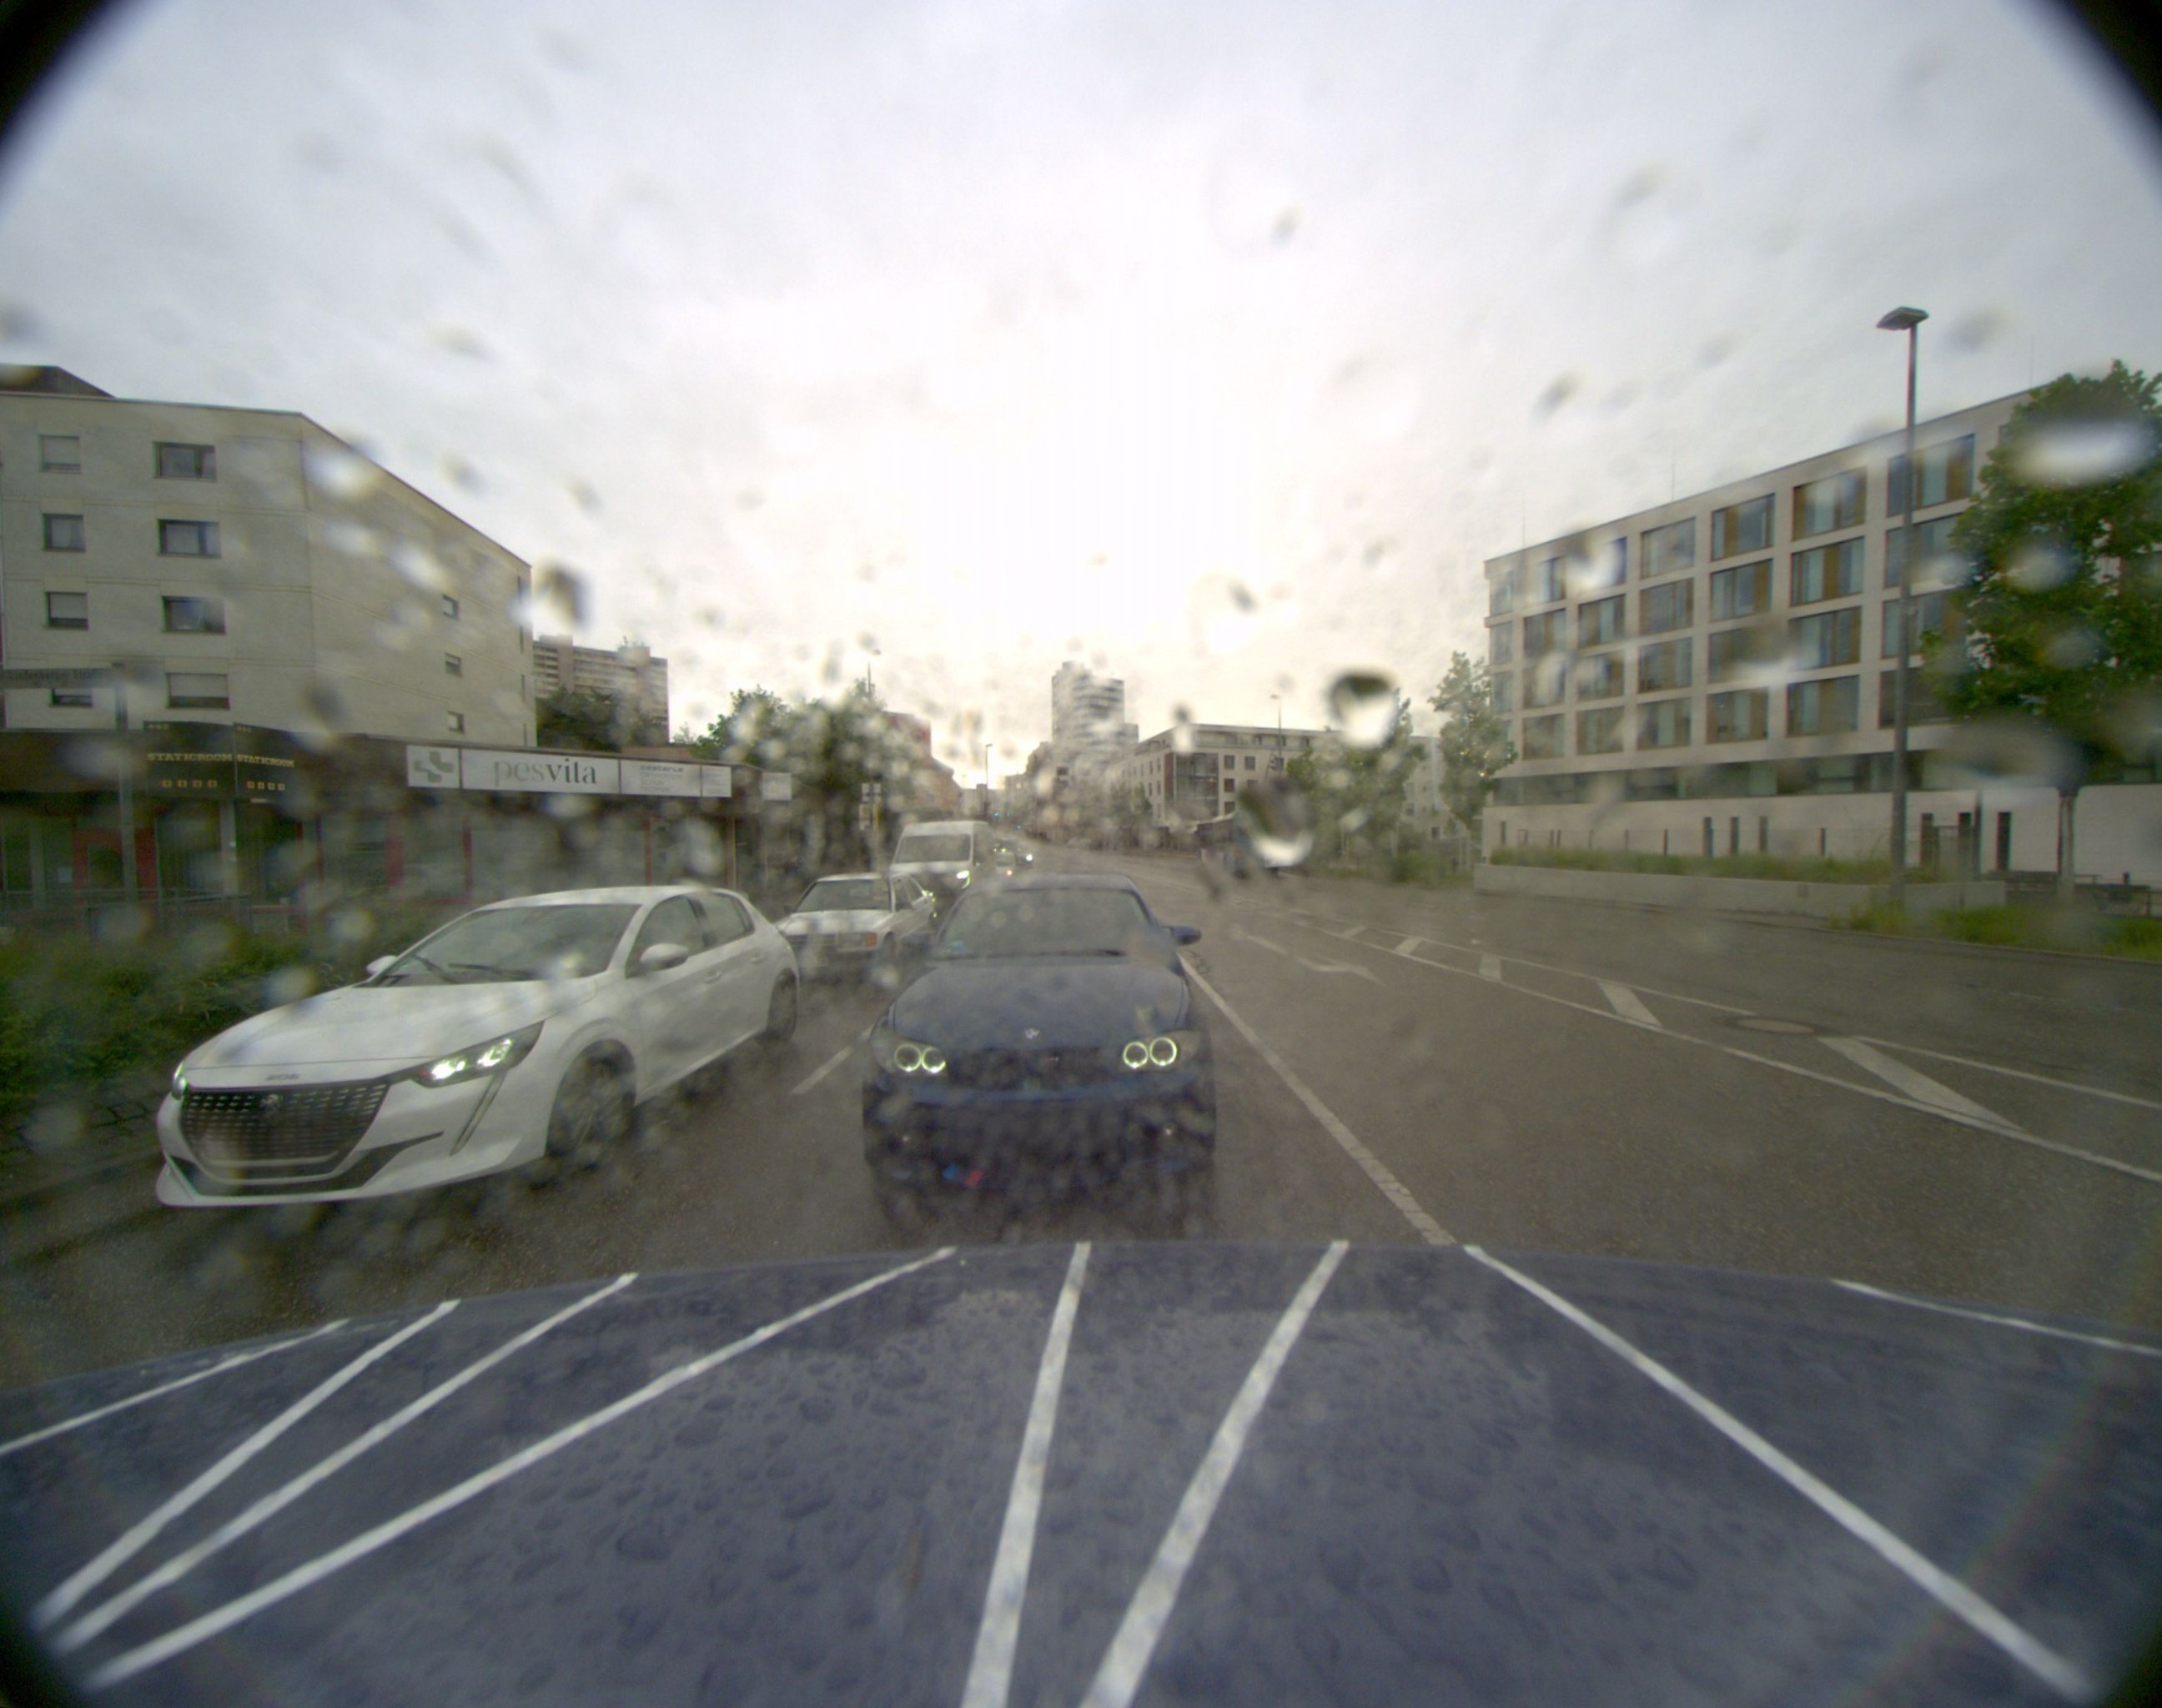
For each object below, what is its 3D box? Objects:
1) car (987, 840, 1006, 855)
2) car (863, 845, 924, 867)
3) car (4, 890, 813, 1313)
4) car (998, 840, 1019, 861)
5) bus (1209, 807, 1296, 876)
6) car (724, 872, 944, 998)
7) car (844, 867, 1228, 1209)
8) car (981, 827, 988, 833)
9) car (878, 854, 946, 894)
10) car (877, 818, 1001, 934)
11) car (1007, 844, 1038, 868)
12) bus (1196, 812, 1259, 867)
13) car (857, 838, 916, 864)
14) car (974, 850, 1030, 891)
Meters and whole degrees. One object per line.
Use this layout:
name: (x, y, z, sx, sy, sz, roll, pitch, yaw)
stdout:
car: (-10.590, -0.784, 95.613, 1.879, 1.745, 4.000, 1, 0, 1)
car: (-13.030, 0.119, 52.946, 4.000, 1.419, 1.882, -1, 1, -10)
car: (-3.388, 1.088, 5.074, 1.666, 1.407, 4.114, -2, 1, 1)
car: (-7.347, -0.384, 77.147, 1.999, 2.002, 3.997, -1, 1, -4)
bus: (8.478, -0.621, 38.771, 2.783, 3.096, 9.369, 0, 1, 3)
car: (-3.366, 1.031, 11.282, 1.788, 1.338, 4.162, -2, 1, 1)
car: (-0.243, 0.865, 5.434, 1.693, 1.380, 3.999, -2, 1, -1)
car: (-26.740, -6.743, 211.478, 1.666, 1.625, 3.801, -2, 1, -11)
car: (-6.931, 0.779, 31.573, 1.788, 1.481, 4.000, -2, 1, 1)
car: (-3.471, 0.423, 19.897, 2.197, 2.503, 6.120, -1, 1, -2)
car: (-4.218, 0.097, 55.451, 1.999, 1.559, 3.998, -2, 1, -1)
bus: (9.022, -0.895, 47.858, 2.798, 3.096, 8.885, 0, 1, 4)
car: (-14.105, -0.245, 55.377, 4.000, 1.769, 1.882, -1, 1, -10)
car: (-3.231, 0.643, 31.893, 1.803, 1.530, 3.999, -2, 1, 1)
